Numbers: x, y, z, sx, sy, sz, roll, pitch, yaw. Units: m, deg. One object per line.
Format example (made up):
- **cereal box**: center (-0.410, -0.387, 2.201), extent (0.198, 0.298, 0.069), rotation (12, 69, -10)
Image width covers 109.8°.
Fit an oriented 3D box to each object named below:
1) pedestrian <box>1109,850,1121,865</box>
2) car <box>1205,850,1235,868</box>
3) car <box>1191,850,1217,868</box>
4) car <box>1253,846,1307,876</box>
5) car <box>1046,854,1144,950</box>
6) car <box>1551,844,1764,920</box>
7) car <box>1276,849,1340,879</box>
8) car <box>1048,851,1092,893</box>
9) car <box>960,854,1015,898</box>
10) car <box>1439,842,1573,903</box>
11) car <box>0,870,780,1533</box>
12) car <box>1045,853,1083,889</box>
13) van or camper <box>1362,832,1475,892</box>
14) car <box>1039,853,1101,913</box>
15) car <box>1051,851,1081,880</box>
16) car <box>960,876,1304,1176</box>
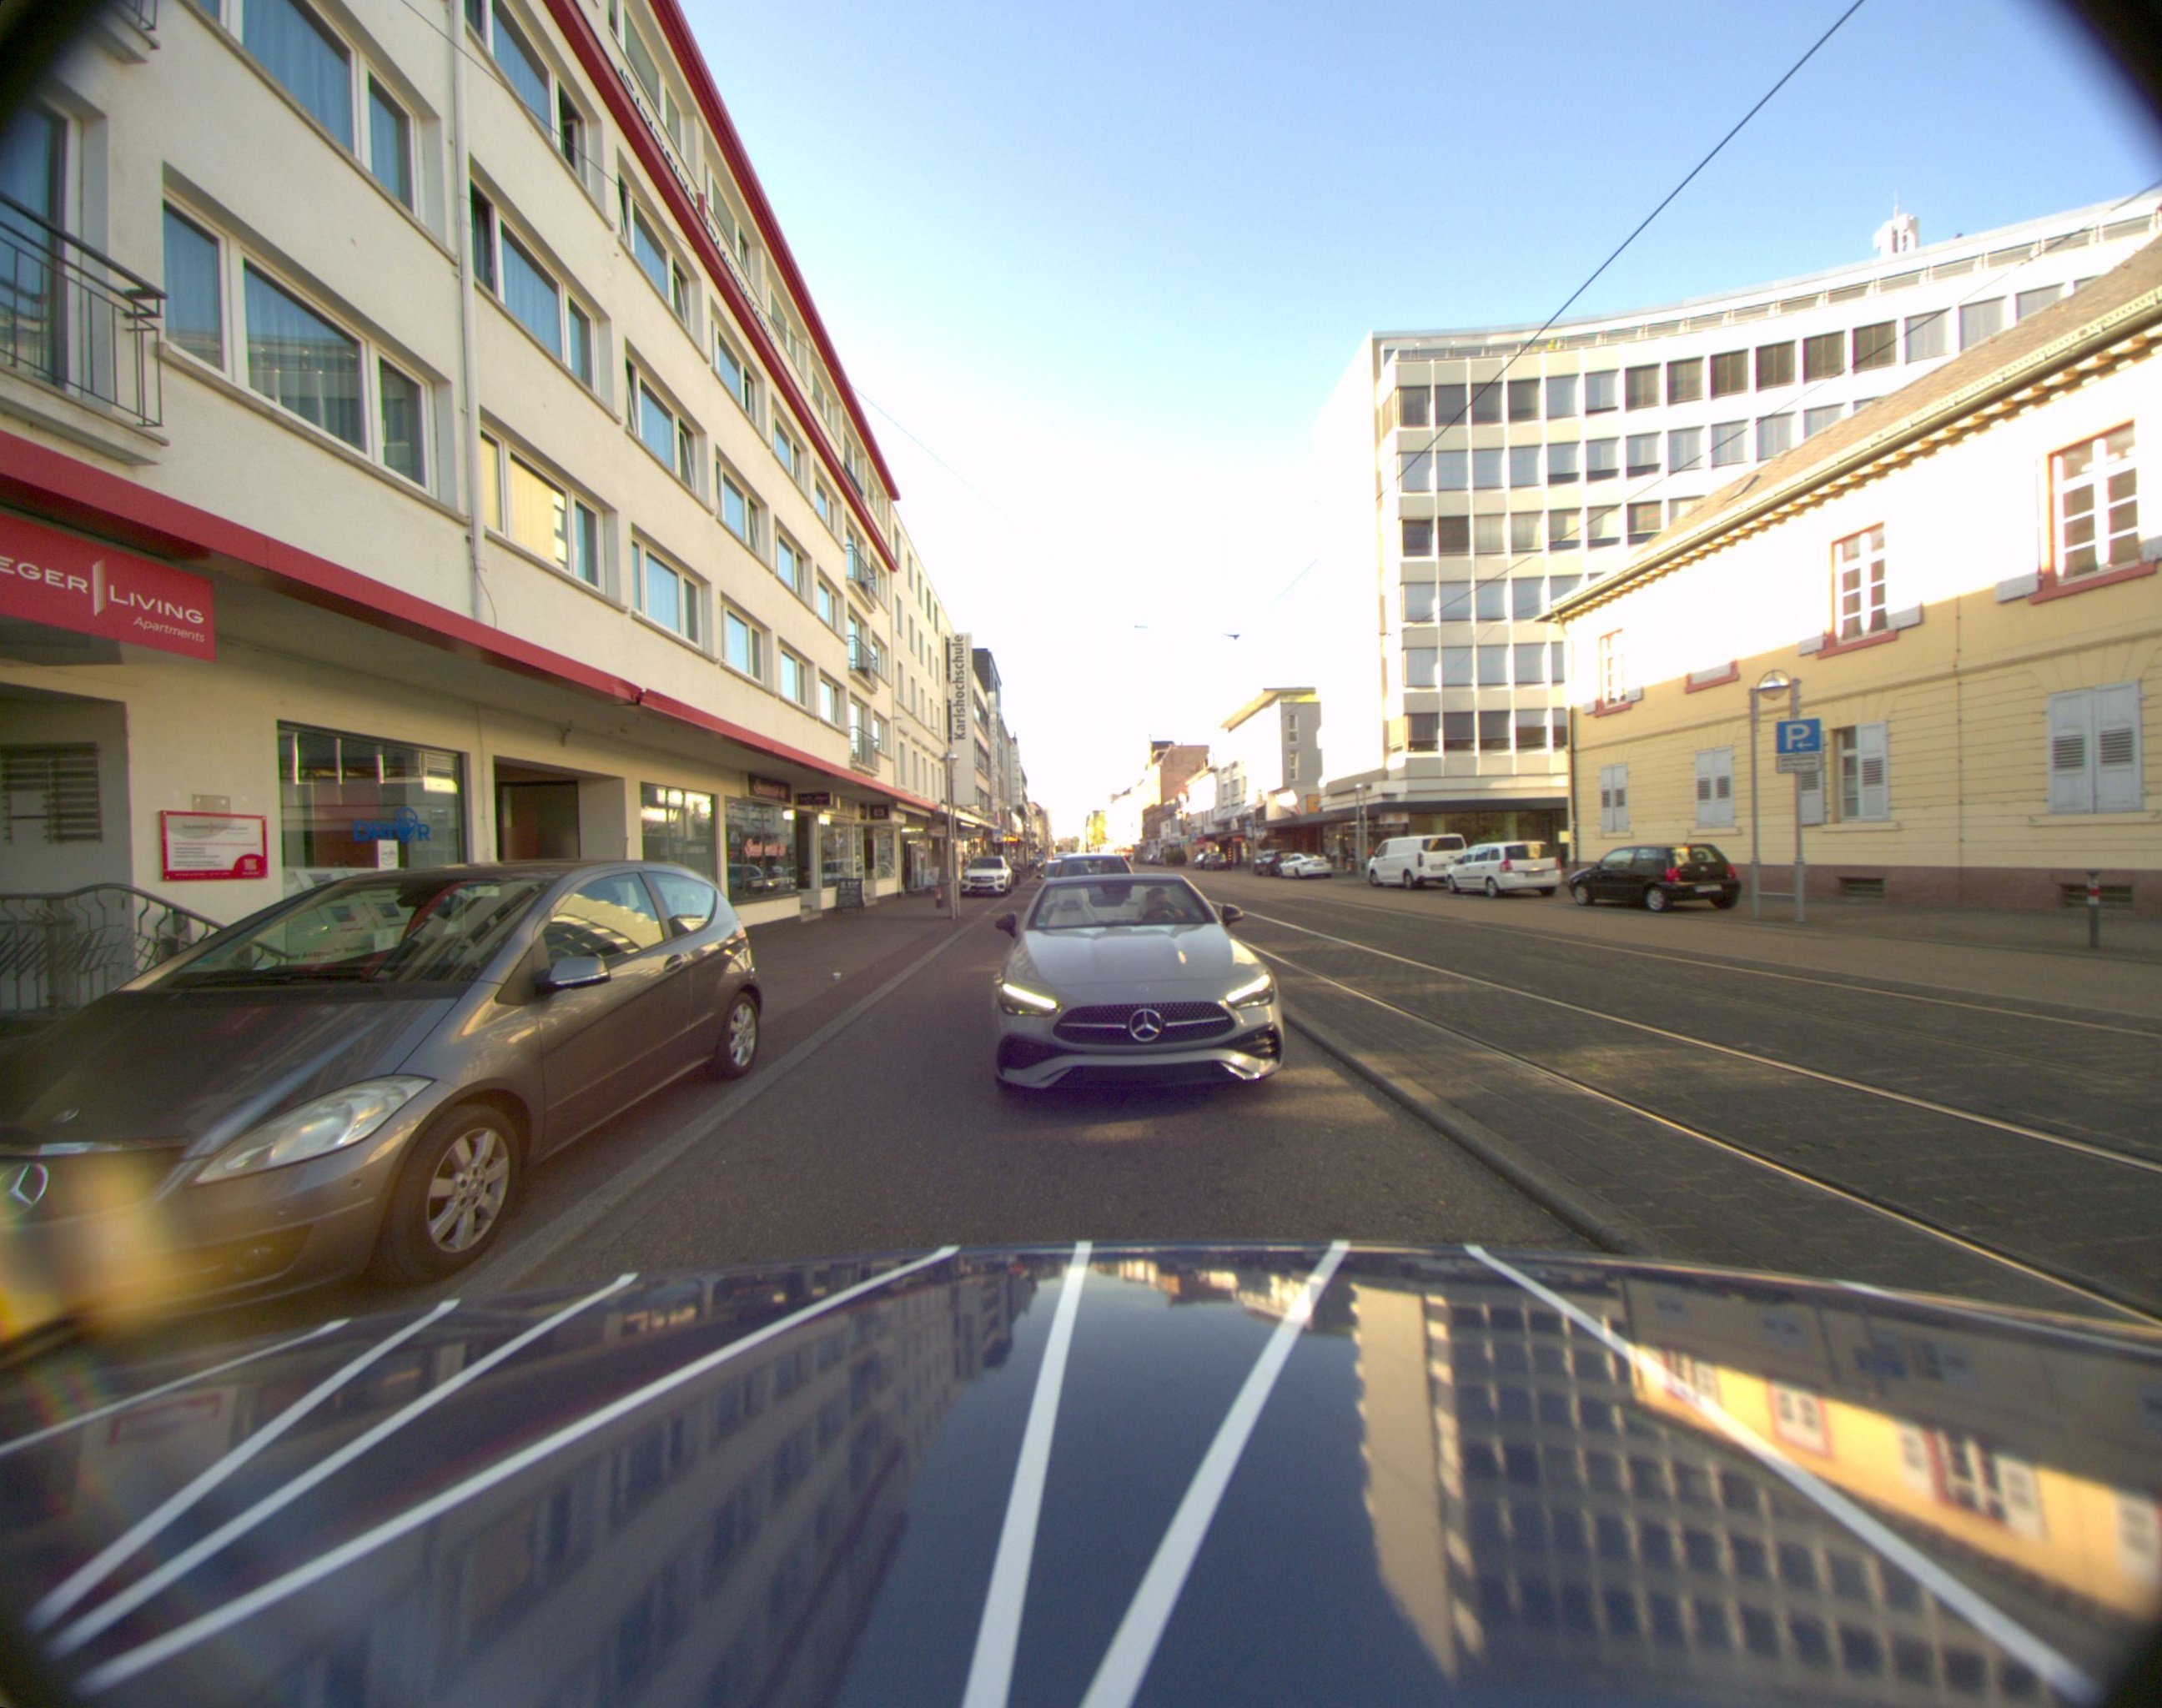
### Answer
- **pedestrian**: center (4.116, 0.445, 91.736), extent (1.034, 1.811, 1.007), rotation (-3, 1, -40)
- **car**: center (11.946, 0.396, 65.481), extent (1.786, 1.408, 3.596), rotation (-2, 1, -2)
- **car**: center (11.469, 0.419, 71.052), extent (1.786, 1.511, 3.832), rotation (-2, 1, -1)
- **car**: center (12.397, 0.393, 47.566), extent (1.931, 1.632, 4.280), rotation (-4, 1, -3)
- **car**: center (0.237, 0.857, 15.532), extent (1.737, 1.654, 3.960), rotation (0, 1, 0)
- **car**: center (12.859, 0.542, 17.316), extent (1.781, 1.431, 3.960), rotation (-3, 1, 0)
- **car**: center (12.522, 0.507, 42.162), extent (1.931, 1.444, 4.291), rotation (-4, 1, -5)
- **car**: center (-0.455, 0.700, 31.981), extent (1.737, 1.654, 3.960), rotation (0, 1, 0)
- **car**: center (-3.810, 0.844, 31.689), extent (1.783, 1.654, 4.162), rotation (0, 1, 0)
- **car**: center (12.752, 0.489, 23.144), extent (1.781, 1.611, 4.175), rotation (-3, 1, 2)
- **car**: center (-3.224, 0.936, 3.898), extent (1.781, 1.560, 3.960), rotation (0, 1, 0)
- **car**: center (-0.803, 0.801, 37.396), extent (1.737, 1.654, 3.781), rotation (0, 1, 0)
- **van or camper**: center (12.678, 0.258, 28.897), extent (1.960, 1.962, 4.796), rotation (-3, 1, -2)
- **car**: center (-0.323, 0.836, 23.688), extent (1.783, 1.654, 3.960), rotation (0, 1, 0)
- **car**: center (-0.861, 0.647, 46.423), extent (1.737, 1.654, 3.960), rotation (0, 1, 0)
- **car**: center (0.271, 1.008, 6.527), extent (1.869, 1.431, 4.773), rotation (0, 1, 0)
